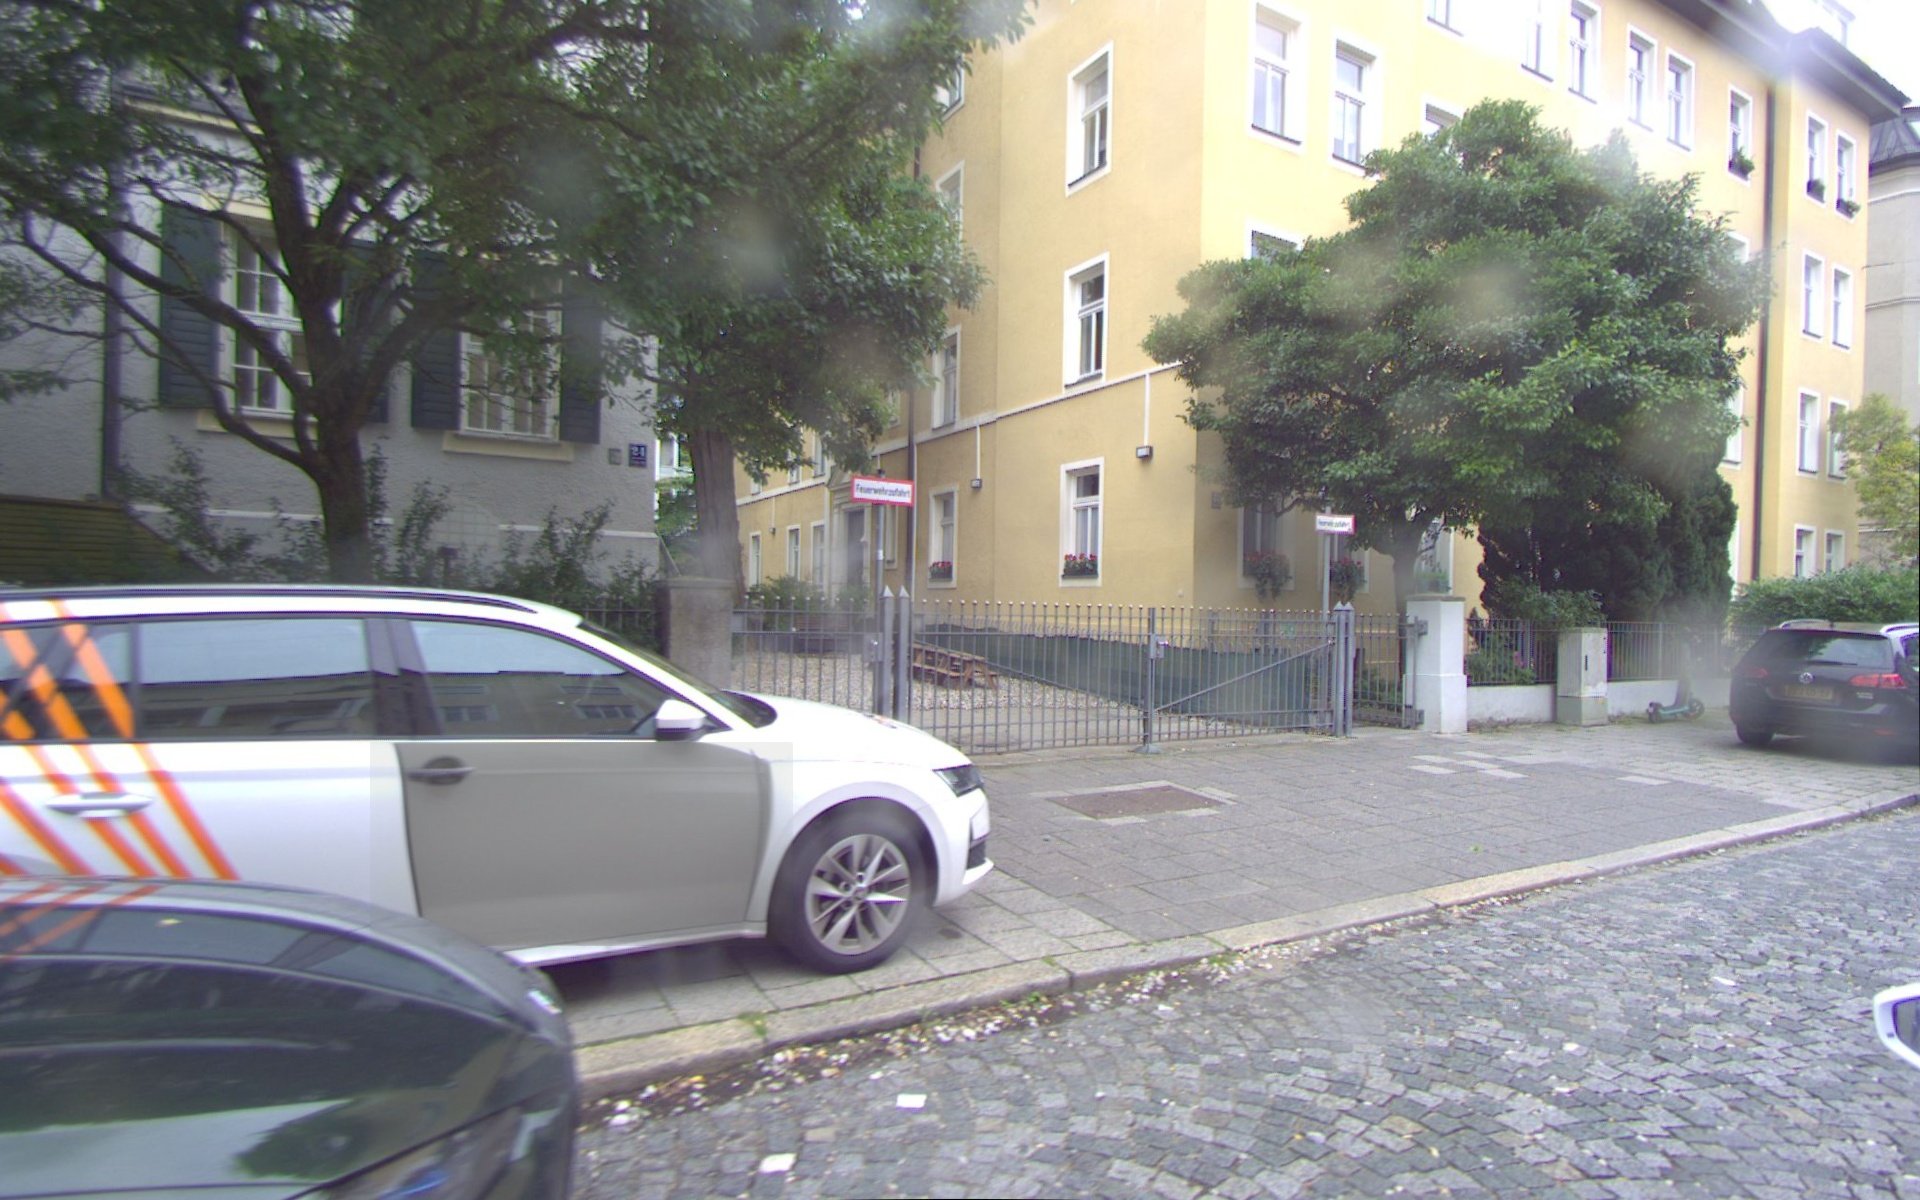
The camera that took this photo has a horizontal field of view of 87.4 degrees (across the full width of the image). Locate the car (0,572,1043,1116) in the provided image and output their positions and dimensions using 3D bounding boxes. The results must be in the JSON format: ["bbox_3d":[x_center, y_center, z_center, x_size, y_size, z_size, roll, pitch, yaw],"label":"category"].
[{"bbox_3d":[-2.041,0.663,3.995,4.507,1.436,1.767,1,1,-30],"label":"car"}]

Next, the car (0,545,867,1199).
[{"bbox_3d":[-2.668,0.688,0.986,4.854,1.474,1.807,1,-3,-30],"label":"car"}]

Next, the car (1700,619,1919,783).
[{"bbox_3d":[10.811,1.054,11.782,4.667,1.517,1.706,1,2,-31],"label":"car"}]

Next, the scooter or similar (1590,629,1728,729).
[{"bbox_3d":[9.492,1.034,13.651,1.504,1.216,0.951,1,2,-30],"label":"scooter or similar"}]
